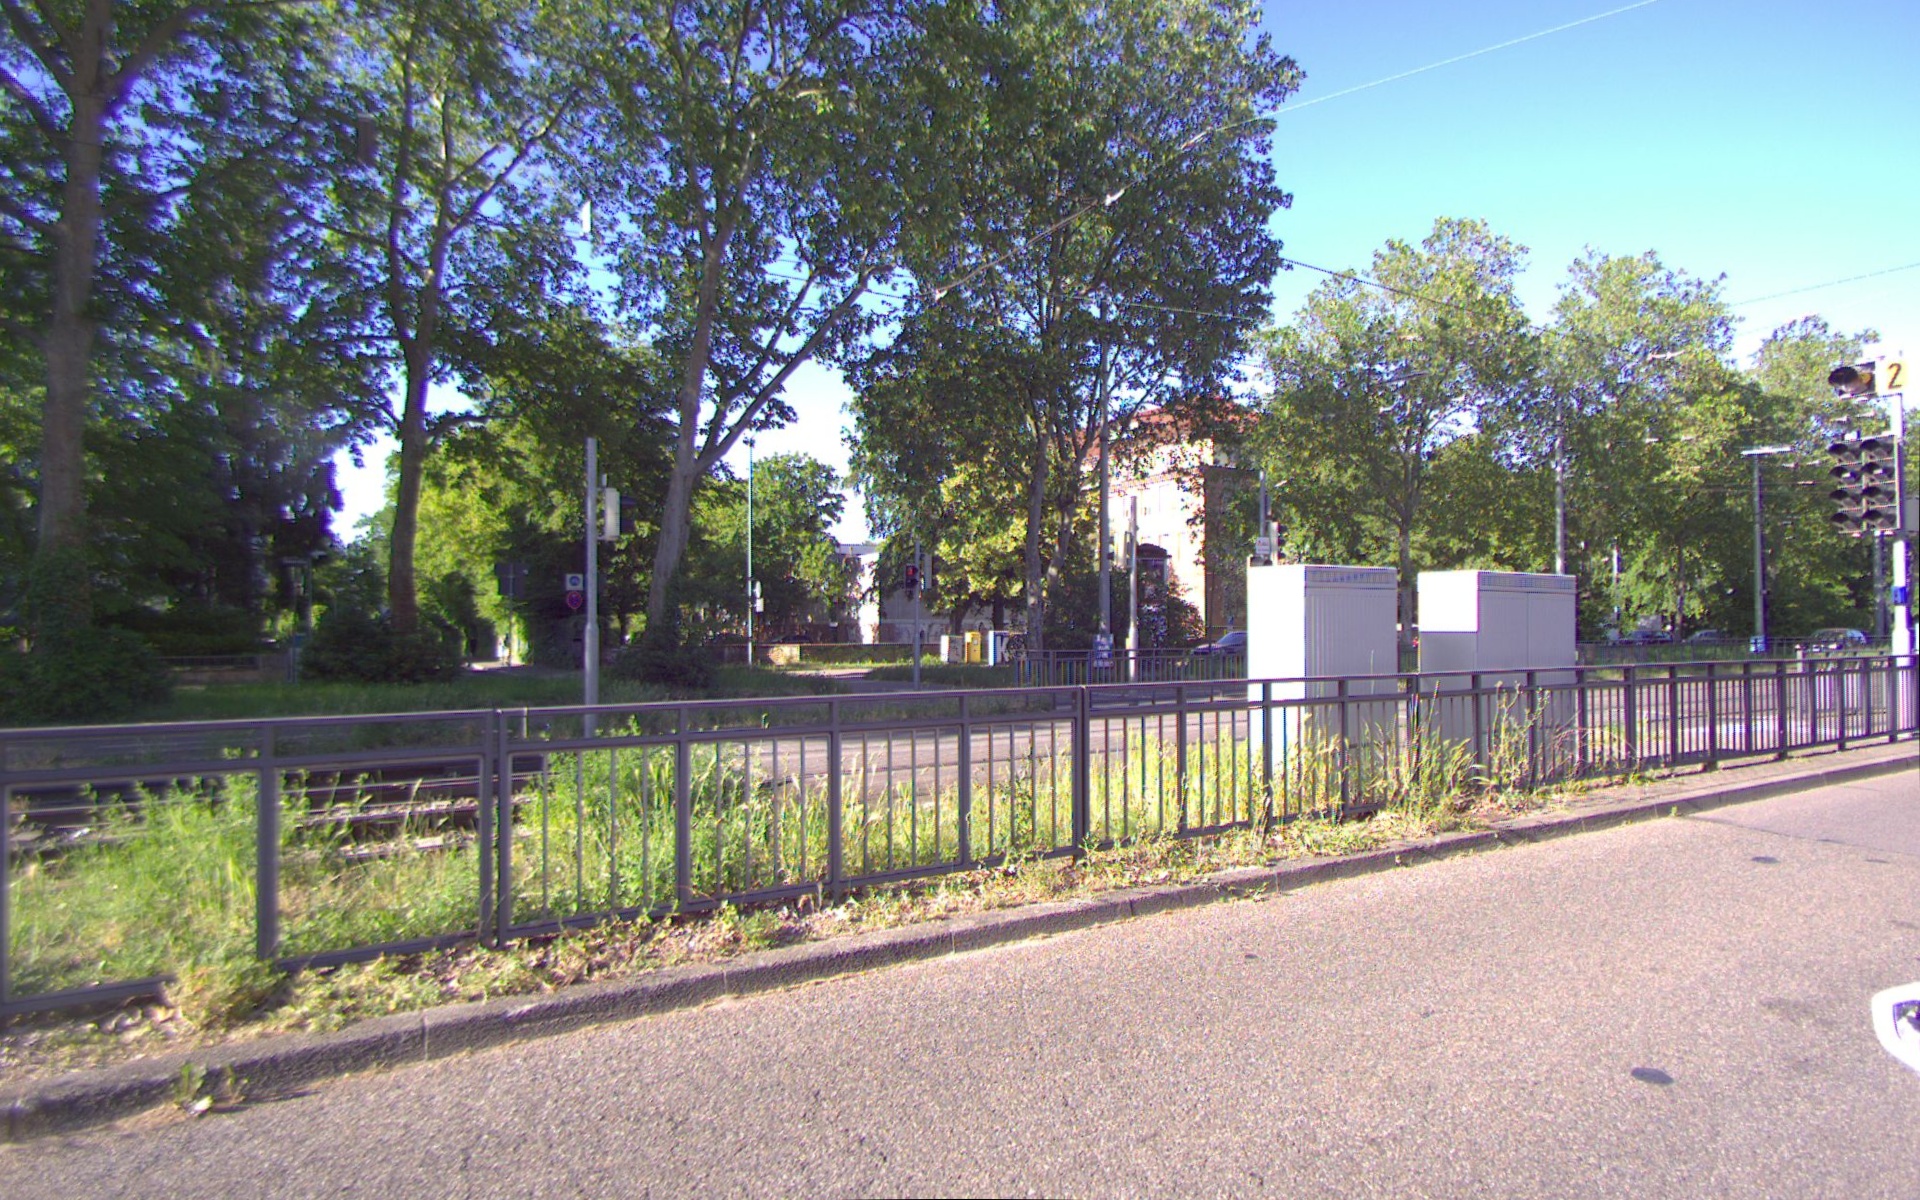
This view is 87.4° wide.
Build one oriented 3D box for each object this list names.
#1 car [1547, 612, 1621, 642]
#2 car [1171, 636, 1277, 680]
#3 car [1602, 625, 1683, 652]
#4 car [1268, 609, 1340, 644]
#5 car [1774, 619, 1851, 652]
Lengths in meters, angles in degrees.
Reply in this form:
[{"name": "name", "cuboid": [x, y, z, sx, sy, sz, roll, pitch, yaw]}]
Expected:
[{"name": "car", "cuboid": [32.797, 1.399, 52.752, 4.098, 1.529, 1.660, 1, -1, -32]}, {"name": "car", "cuboid": [10.247, 2.206, 38.909, 4.098, 1.529, 1.660, 0, -1, -32]}, {"name": "car", "cuboid": [37.841, 2.139, 55.674, 4.795, 1.367, 1.926, 2, -2, -32]}, {"name": "car", "cuboid": [20.509, 1.555, 59.907, 3.953, 2.040, 1.984, 1, -1, -30]}, {"name": "car", "cuboid": [41.017, 1.675, 48.316, 4.297, 1.518, 1.674, 1, -1, -33]}]
